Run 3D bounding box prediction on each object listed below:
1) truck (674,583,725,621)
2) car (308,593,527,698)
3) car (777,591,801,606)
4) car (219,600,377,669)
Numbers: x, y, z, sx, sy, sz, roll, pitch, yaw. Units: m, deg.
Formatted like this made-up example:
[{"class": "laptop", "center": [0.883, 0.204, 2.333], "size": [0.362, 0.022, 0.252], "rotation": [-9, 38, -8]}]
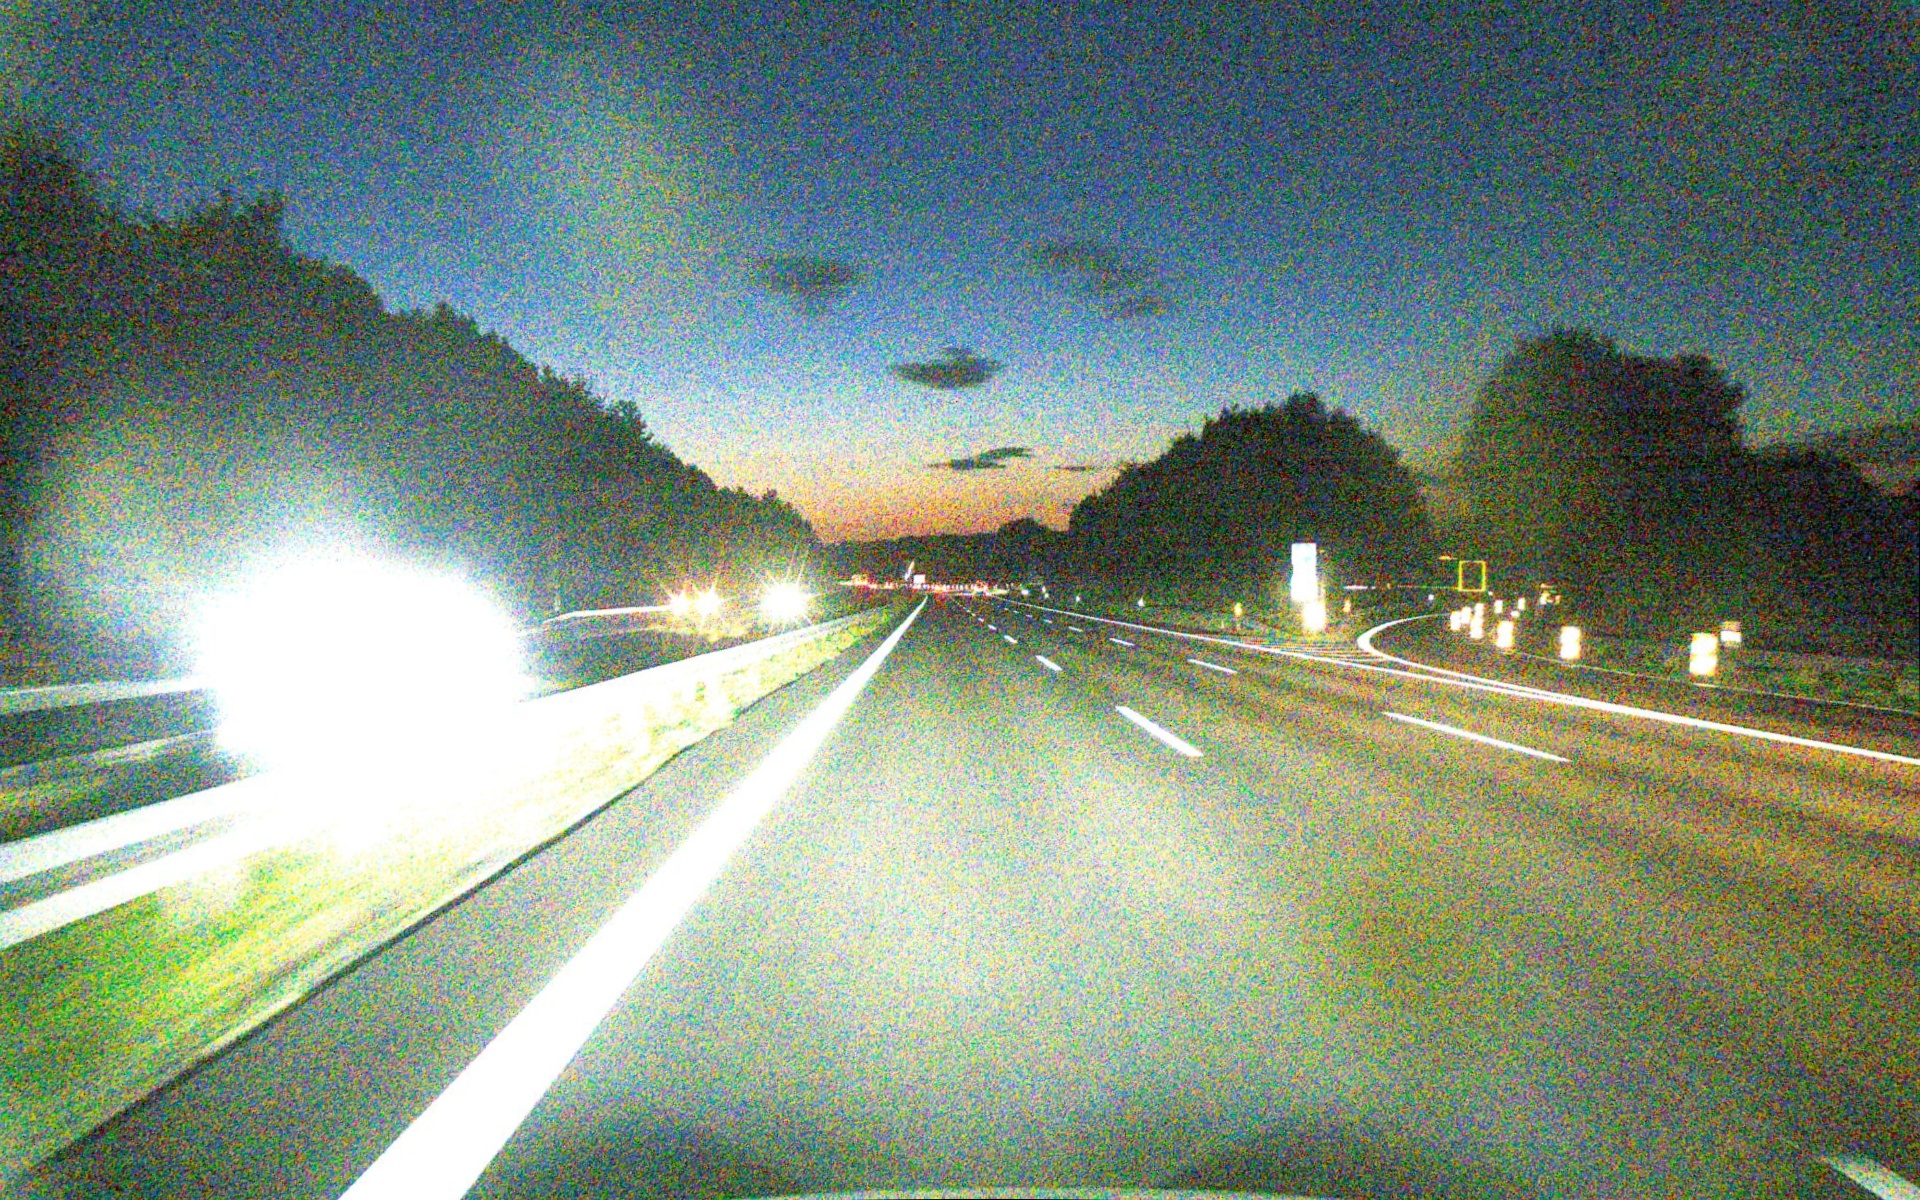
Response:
[{"class": "truck", "center": [-14.390, 0.120, 91.605], "size": [1.953, 1.976, 5.240], "rotation": [-1, 0, 0]}, {"class": "car", "center": [-8.729, 0.667, 27.117], "size": [1.953, 1.487, 4.899], "rotation": [-2, 0, 0]}, {"class": "car", "center": [-18.015, -0.181, 174.524], "size": [1.953, 1.530, 5.200], "rotation": [-2, 0, -1]}, {"class": "car", "center": [-15.955, 0.782, 40.159], "size": [1.953, 1.511, 4.799], "rotation": [-1, 0, -1]}]
